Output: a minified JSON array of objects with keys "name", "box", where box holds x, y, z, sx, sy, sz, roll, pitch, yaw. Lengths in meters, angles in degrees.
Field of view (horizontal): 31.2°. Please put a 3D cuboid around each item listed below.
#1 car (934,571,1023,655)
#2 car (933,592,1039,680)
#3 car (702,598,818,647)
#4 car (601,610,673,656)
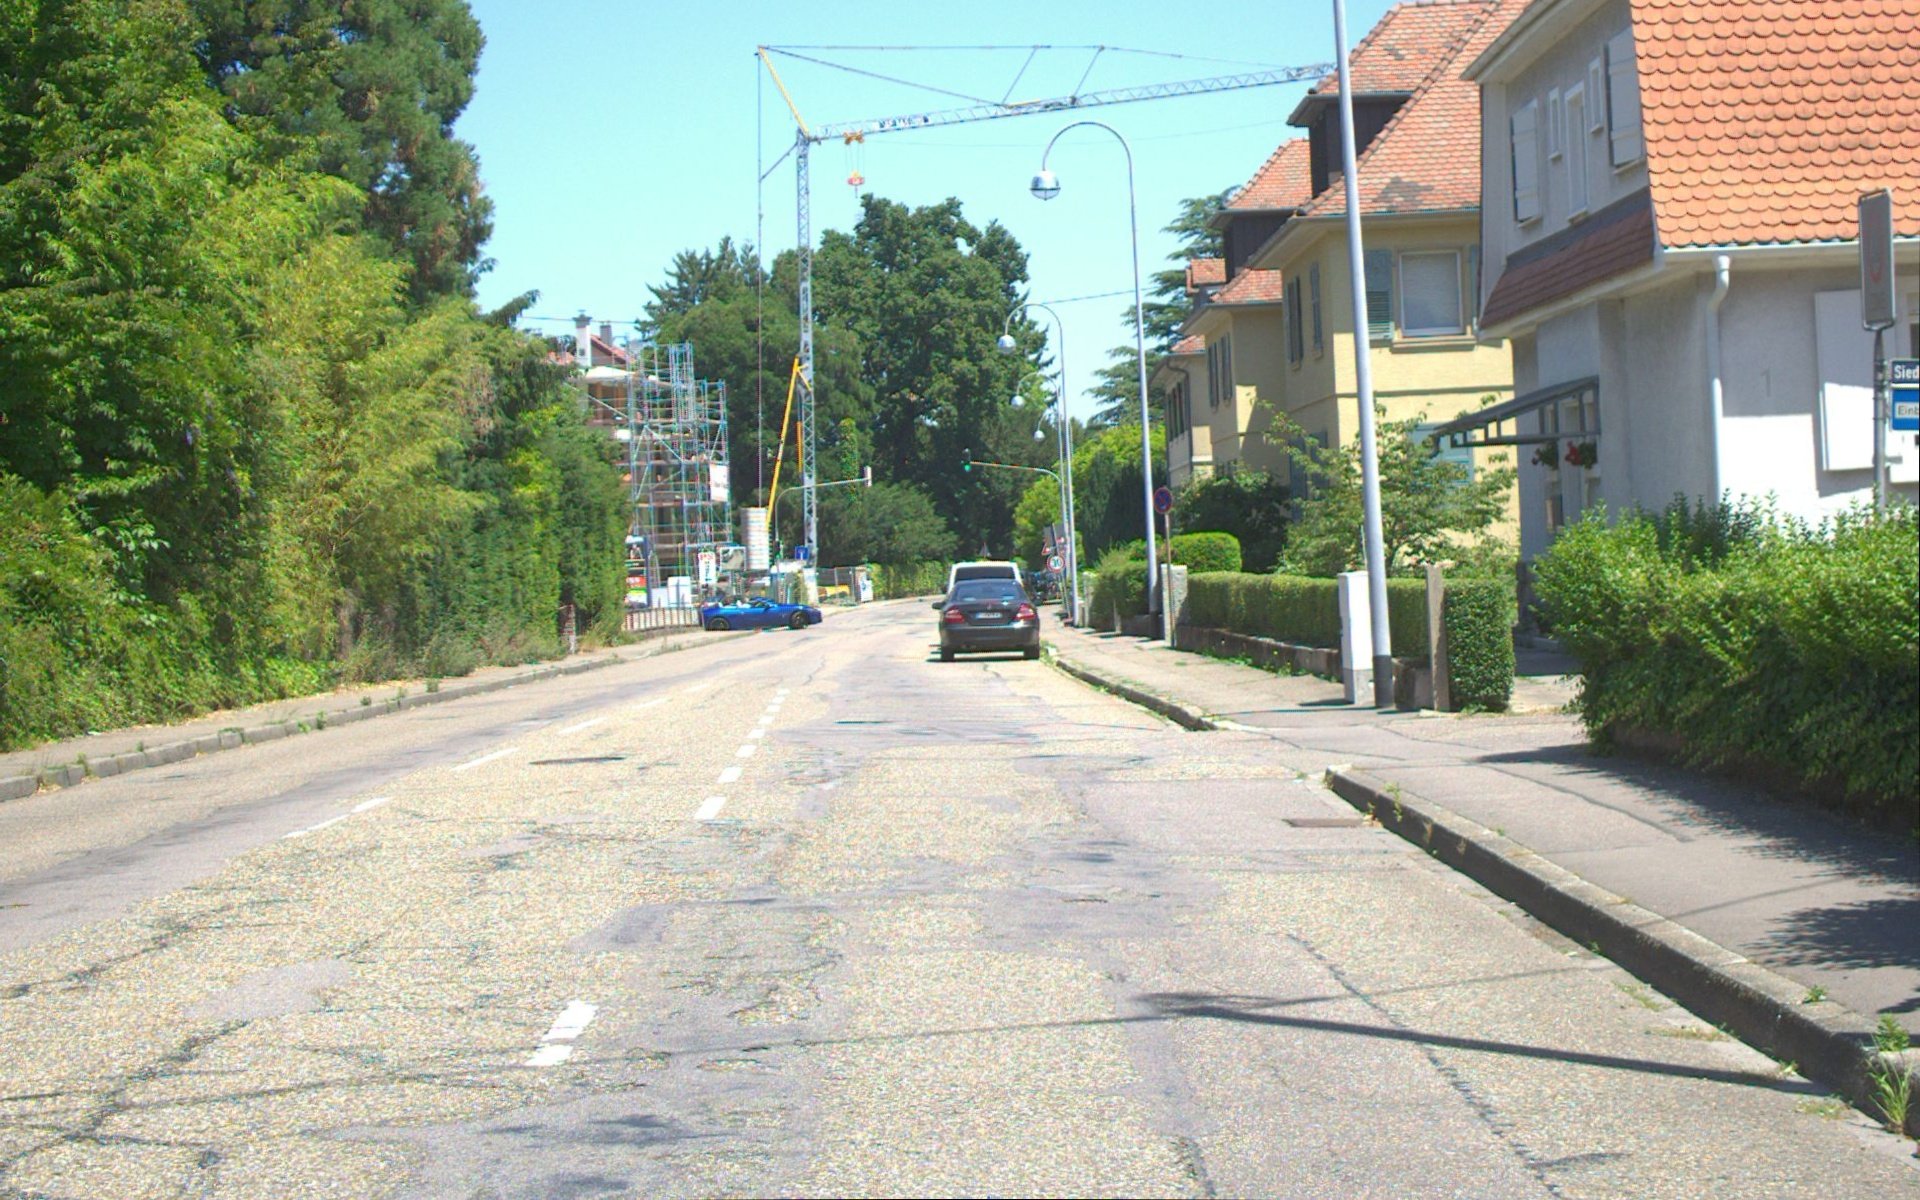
[{"name":"car","box":[0.397,0.292,79.953,1.993,1.895,4.822,0,0,0]},{"name":"car","box":[0.422,0.627,60.075,1.692,1.414,4.551,-2,-1,-1]},{"name":"car","box":[-7.324,0.814,125.872,3.986,1.463,1.965,-4,1,-8]},{"name":"car","box":[-10.649,1.072,113.582,1.660,1.384,3.534,-3,0,6]}]
